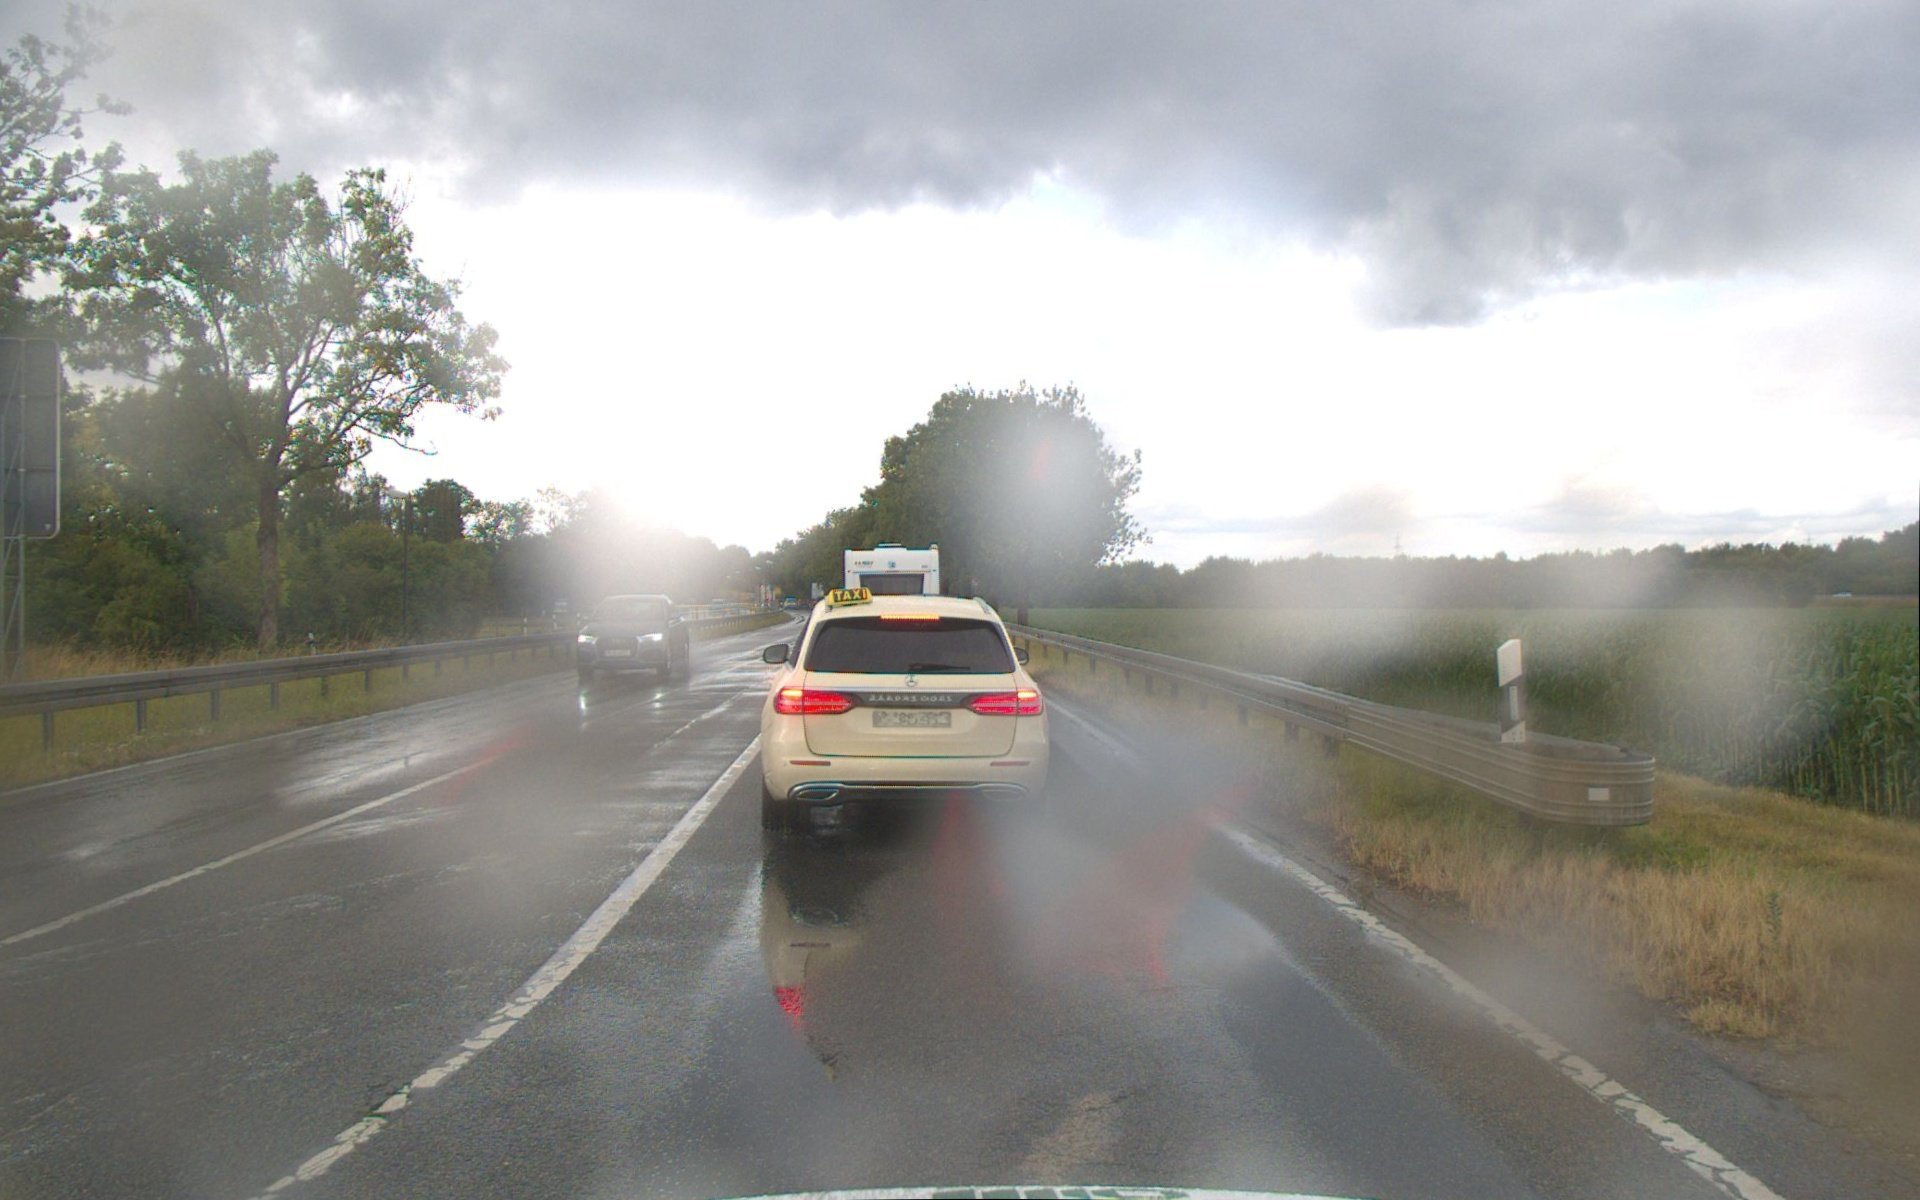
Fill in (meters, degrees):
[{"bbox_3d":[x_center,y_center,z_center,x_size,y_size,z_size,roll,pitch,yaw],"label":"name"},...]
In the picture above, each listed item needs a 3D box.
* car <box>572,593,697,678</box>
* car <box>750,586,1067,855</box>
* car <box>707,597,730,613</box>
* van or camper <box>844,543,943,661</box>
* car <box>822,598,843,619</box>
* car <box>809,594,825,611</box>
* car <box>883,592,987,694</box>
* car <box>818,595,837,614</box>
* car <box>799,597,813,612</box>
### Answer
[{"bbox_3d":[-6.472,0.665,33.281,1.733,1.550,4.140,-2,0,-2],"label":"car"},{"bbox_3d":[-0.329,0.686,11.505,1.788,1.511,4.144,1,0,-1],"label":"car"},{"bbox_3d":[-25.484,0.479,174.710,1.953,1.680,3.999,0,0,-1],"label":"car"},{"bbox_3d":[-1.657,0.023,41.348,2.303,2.727,5.766,0,0,-2],"label":"van or camper"},{"bbox_3d":[-12.845,0.823,166.898,1.955,2.049,3.994,0,0,-7],"label":"car"},{"bbox_3d":[-17.367,0.258,200.743,1.954,2.049,3.996,0,0,-5],"label":"car"},{"bbox_3d":[-0.454,0.656,27.407,1.594,1.556,3.931,-1,0,-2],"label":"car"},{"bbox_3d":[-15.089,0.514,189.097,1.953,2.087,3.999,0,0,-1],"label":"car"},{"bbox_3d":[-21.960,0.602,235.625,1.956,2.049,3.993,0,0,-7],"label":"car"}]
